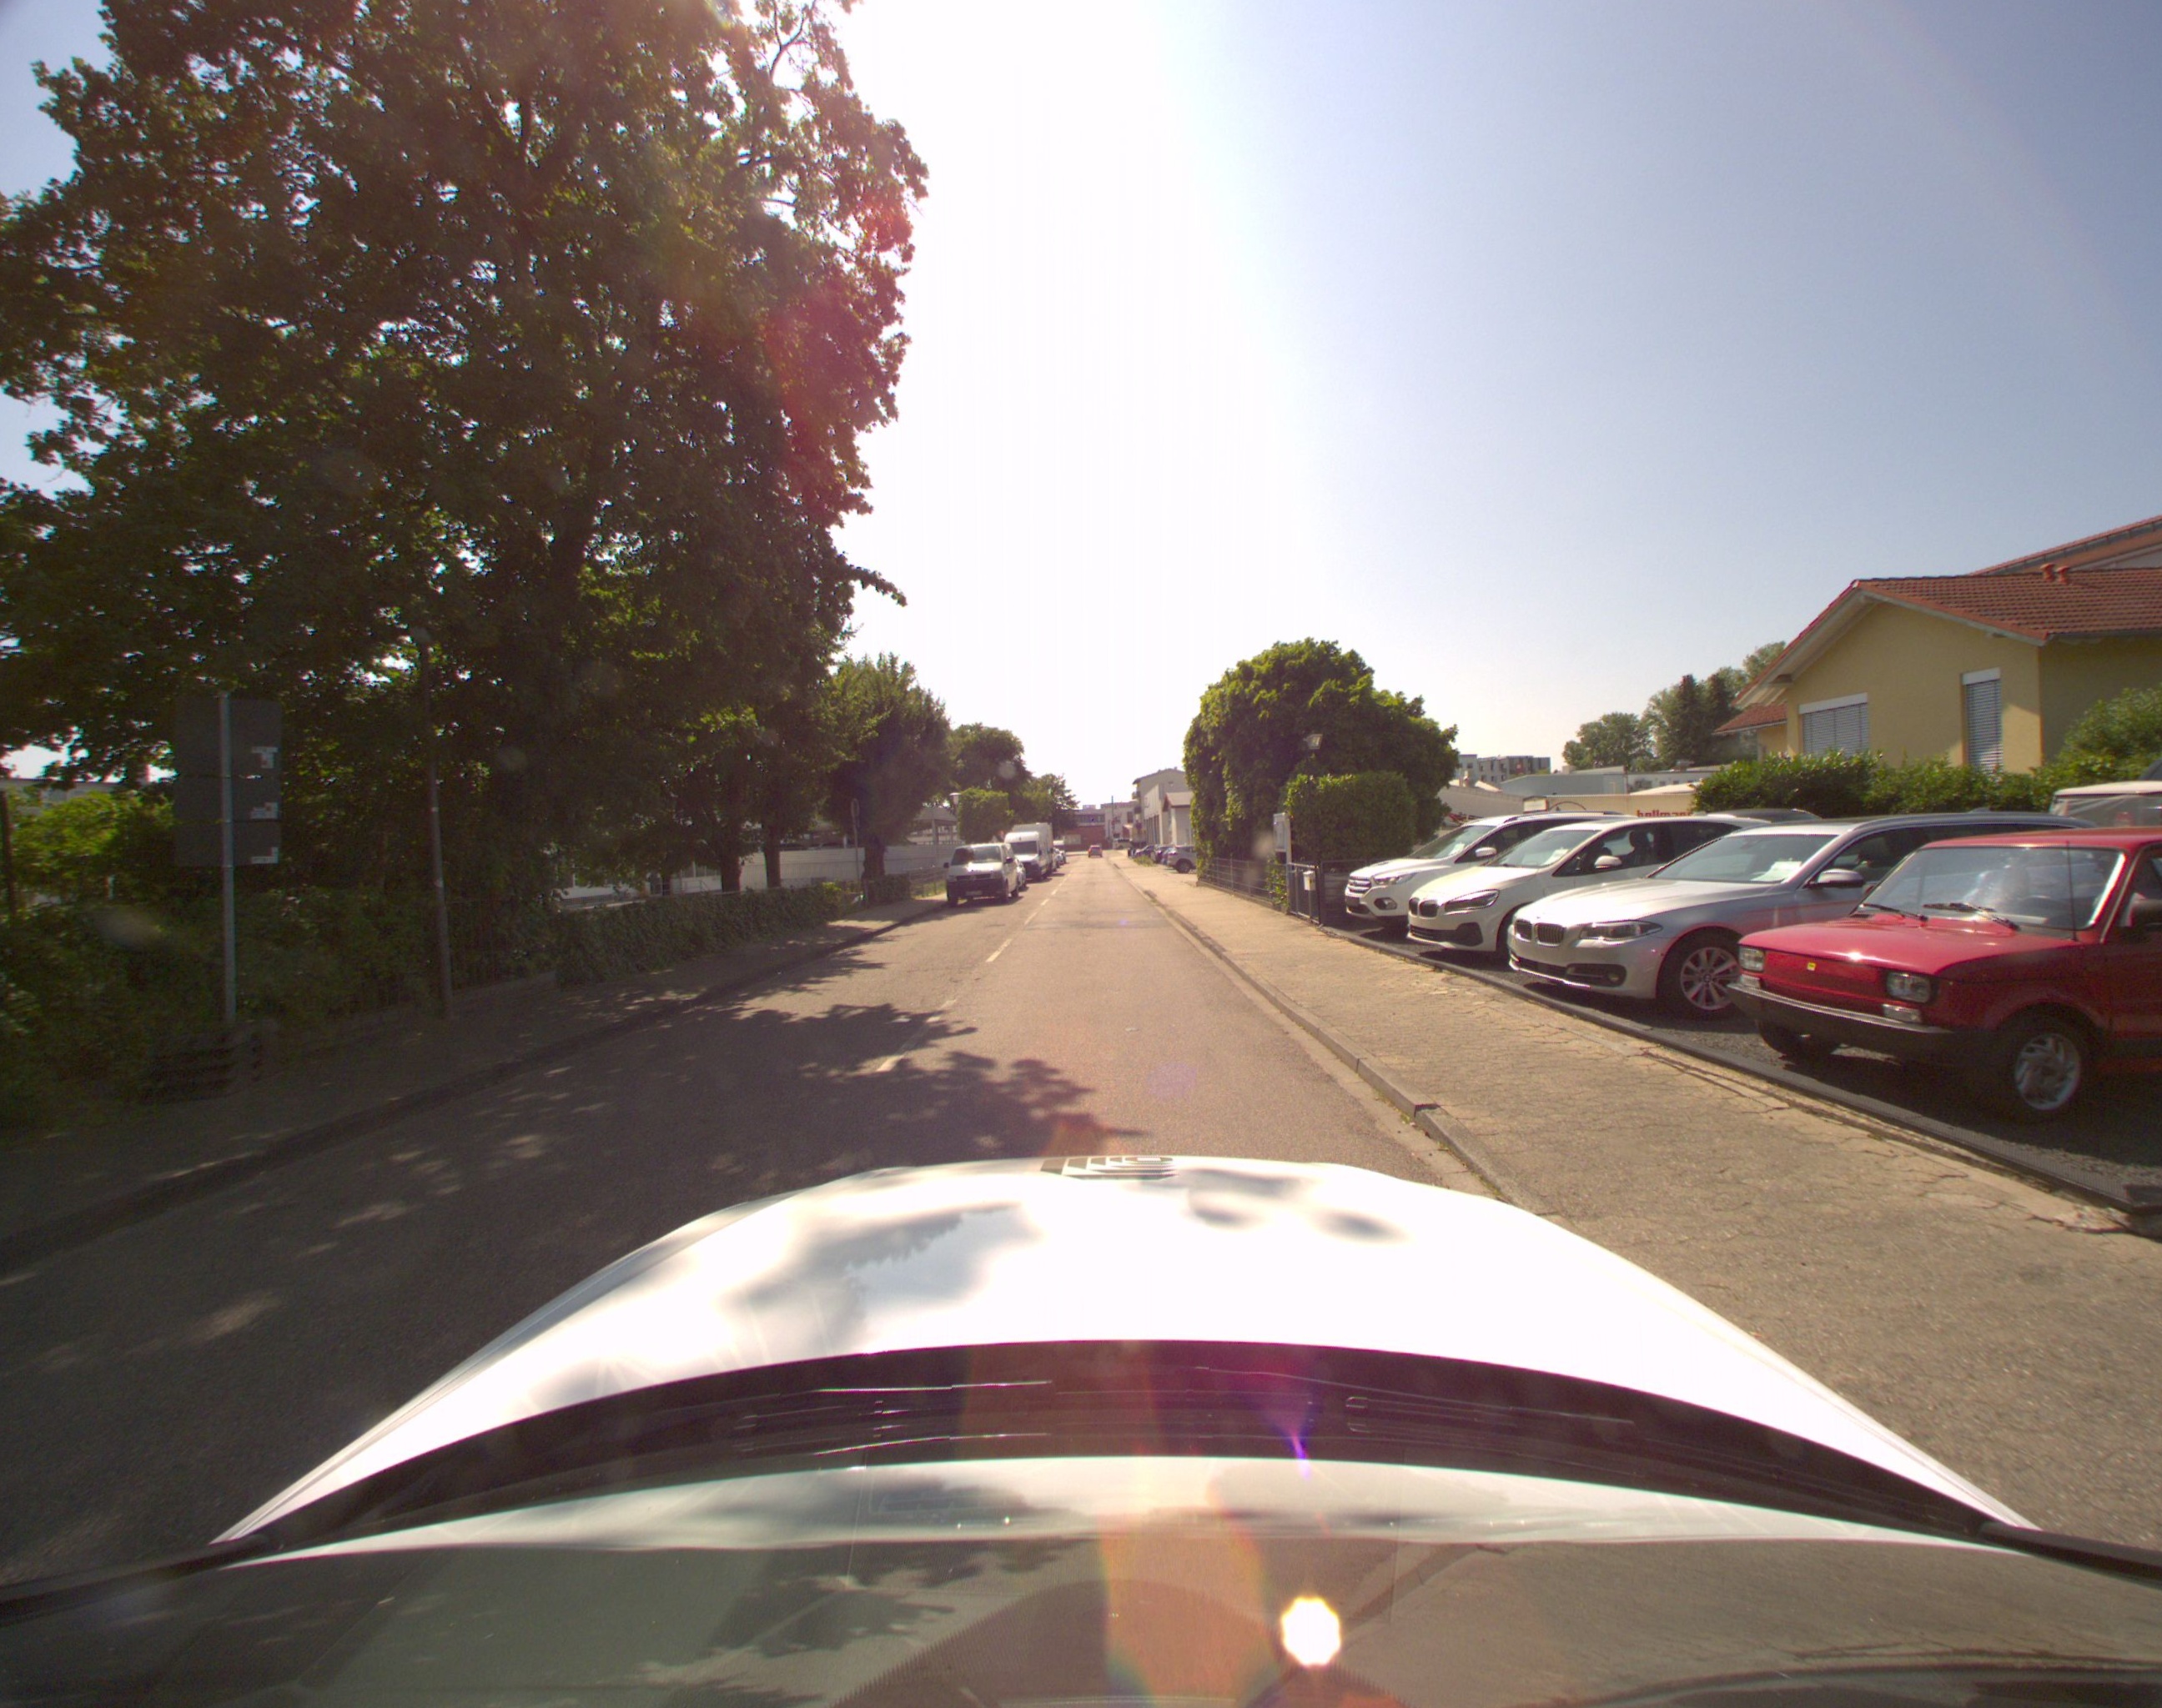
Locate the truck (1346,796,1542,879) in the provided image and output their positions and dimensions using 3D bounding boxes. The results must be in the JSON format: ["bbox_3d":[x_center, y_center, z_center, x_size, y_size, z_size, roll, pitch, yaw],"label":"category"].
[{"bbox_3d":[17.755,-0.787,40.289,8.240,3.611,2.956,-2,0,3],"label":"truck"}]

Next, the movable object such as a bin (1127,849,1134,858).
[{"bbox_3d":[5.596,-0.072,91.629,0.562,0.946,0.561,-3,1,34],"label":"movable object such as a bin"}]

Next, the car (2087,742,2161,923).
[{"bbox_3d":[13.151,-0.307,7.306,1.989,2.013,4.901,-4,0,-4],"label":"car"}]

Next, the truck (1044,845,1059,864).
[{"bbox_3d":[-2.635,0.003,73.539,1.135,1.622,3.139,-5,1,-1],"label":"truck"}]

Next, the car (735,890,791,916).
[{"bbox_3d":[-22.070,3.377,56.710,1.984,1.442,4.005,-3,1,4],"label":"car"}]

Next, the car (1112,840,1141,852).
[{"bbox_3d":[8.047,-1.424,143.628,4.668,1.957,1.904,-3,1,-18],"label":"car"}]

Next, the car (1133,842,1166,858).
[{"bbox_3d":[7.065,-0.439,84.020,3.241,1.398,1.674,-3,1,1],"label":"car"}]

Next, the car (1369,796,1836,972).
[{"bbox_3d":[6.030,0.319,9.755,4.396,1.527,1.894,-5,-1,-5],"label":"car"}]

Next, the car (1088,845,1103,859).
[{"bbox_3d":[1.846,-0.259,104.451,1.884,1.685,3.958,0,0,0],"label":"car"}]

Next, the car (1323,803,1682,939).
[{"bbox_3d":[6.123,0.226,12.192,4.391,1.653,1.842,-3,0,-2],"label":"car"}]

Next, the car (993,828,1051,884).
[{"bbox_3d":[-3.009,0.116,43.426,2.160,2.595,6.923,-4,0,2],"label":"car"}]

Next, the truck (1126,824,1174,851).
[{"bbox_3d":[11.444,-2.722,135.195,7.349,3.644,2.763,-6,1,-6],"label":"truck"}]

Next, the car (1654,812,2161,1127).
[{"bbox_3d":[5.566,0.488,4.592,3.539,1.335,1.558,-4,-1,-1],"label":"car"}]

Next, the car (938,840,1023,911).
[{"bbox_3d":[-3.252,0.647,27.434,1.964,2.013,5.057,-5,0,1],"label":"car"}]

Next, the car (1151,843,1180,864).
[{"bbox_3d":[6.904,-0.039,66.862,1.852,1.567,4.951,-3,1,0],"label":"car"}]

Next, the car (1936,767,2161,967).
[{"bbox_3d":[10.327,0.061,6.860,1.987,1.728,3.999,-3,0,0],"label":"car"}]

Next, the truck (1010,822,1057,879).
[{"bbox_3d":[-3.039,-0.199,53.569,2.678,3.366,7.124,-4,0,-2],"label":"truck"}]

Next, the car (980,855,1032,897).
[{"bbox_3d":[-3.128,0.881,34.607,1.709,1.543,4.399,-5,0,0],"label":"car"}]

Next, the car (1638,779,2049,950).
[{"bbox_3d":[9.849,0.136,11.030,1.987,1.860,3.788,-2,-1,0],"label":"car"}]

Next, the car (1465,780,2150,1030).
[{"bbox_3d":[6.003,0.369,7.083,4.396,1.497,1.894,-5,-1,-5],"label":"car"}]

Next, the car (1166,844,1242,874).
[{"bbox_3d":[7.098,0.269,47.334,4.187,1.682,1.767,0,0,0],"label":"car"}]

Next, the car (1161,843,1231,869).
[{"bbox_3d":[7.509,0.110,53.458,4.339,1.441,1.892,-3,0,0],"label":"car"}]

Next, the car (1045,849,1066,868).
[{"bbox_3d":[-2.460,0.400,77.151,1.701,1.624,3.968,-4,0,-4],"label":"car"}]

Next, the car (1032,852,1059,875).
[{"bbox_3d":[-2.582,0.673,60.091,1.735,1.521,4.310,-3,1,1],"label":"car"}]

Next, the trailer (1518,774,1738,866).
[{"bbox_3d":[26.347,-1.582,39.590,8.292,3.862,3.073,-3,0,6],"label":"trailer"}]

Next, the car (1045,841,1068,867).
[{"bbox_3d":[-2.422,-0.057,82.326,1.999,2.366,5.227,-5,1,-1],"label":"car"}]

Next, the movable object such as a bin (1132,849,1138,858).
[{"bbox_3d":[6.095,-0.076,92.038,0.510,0.946,0.489,-3,1,12],"label":"movable object such as a bin"}]
